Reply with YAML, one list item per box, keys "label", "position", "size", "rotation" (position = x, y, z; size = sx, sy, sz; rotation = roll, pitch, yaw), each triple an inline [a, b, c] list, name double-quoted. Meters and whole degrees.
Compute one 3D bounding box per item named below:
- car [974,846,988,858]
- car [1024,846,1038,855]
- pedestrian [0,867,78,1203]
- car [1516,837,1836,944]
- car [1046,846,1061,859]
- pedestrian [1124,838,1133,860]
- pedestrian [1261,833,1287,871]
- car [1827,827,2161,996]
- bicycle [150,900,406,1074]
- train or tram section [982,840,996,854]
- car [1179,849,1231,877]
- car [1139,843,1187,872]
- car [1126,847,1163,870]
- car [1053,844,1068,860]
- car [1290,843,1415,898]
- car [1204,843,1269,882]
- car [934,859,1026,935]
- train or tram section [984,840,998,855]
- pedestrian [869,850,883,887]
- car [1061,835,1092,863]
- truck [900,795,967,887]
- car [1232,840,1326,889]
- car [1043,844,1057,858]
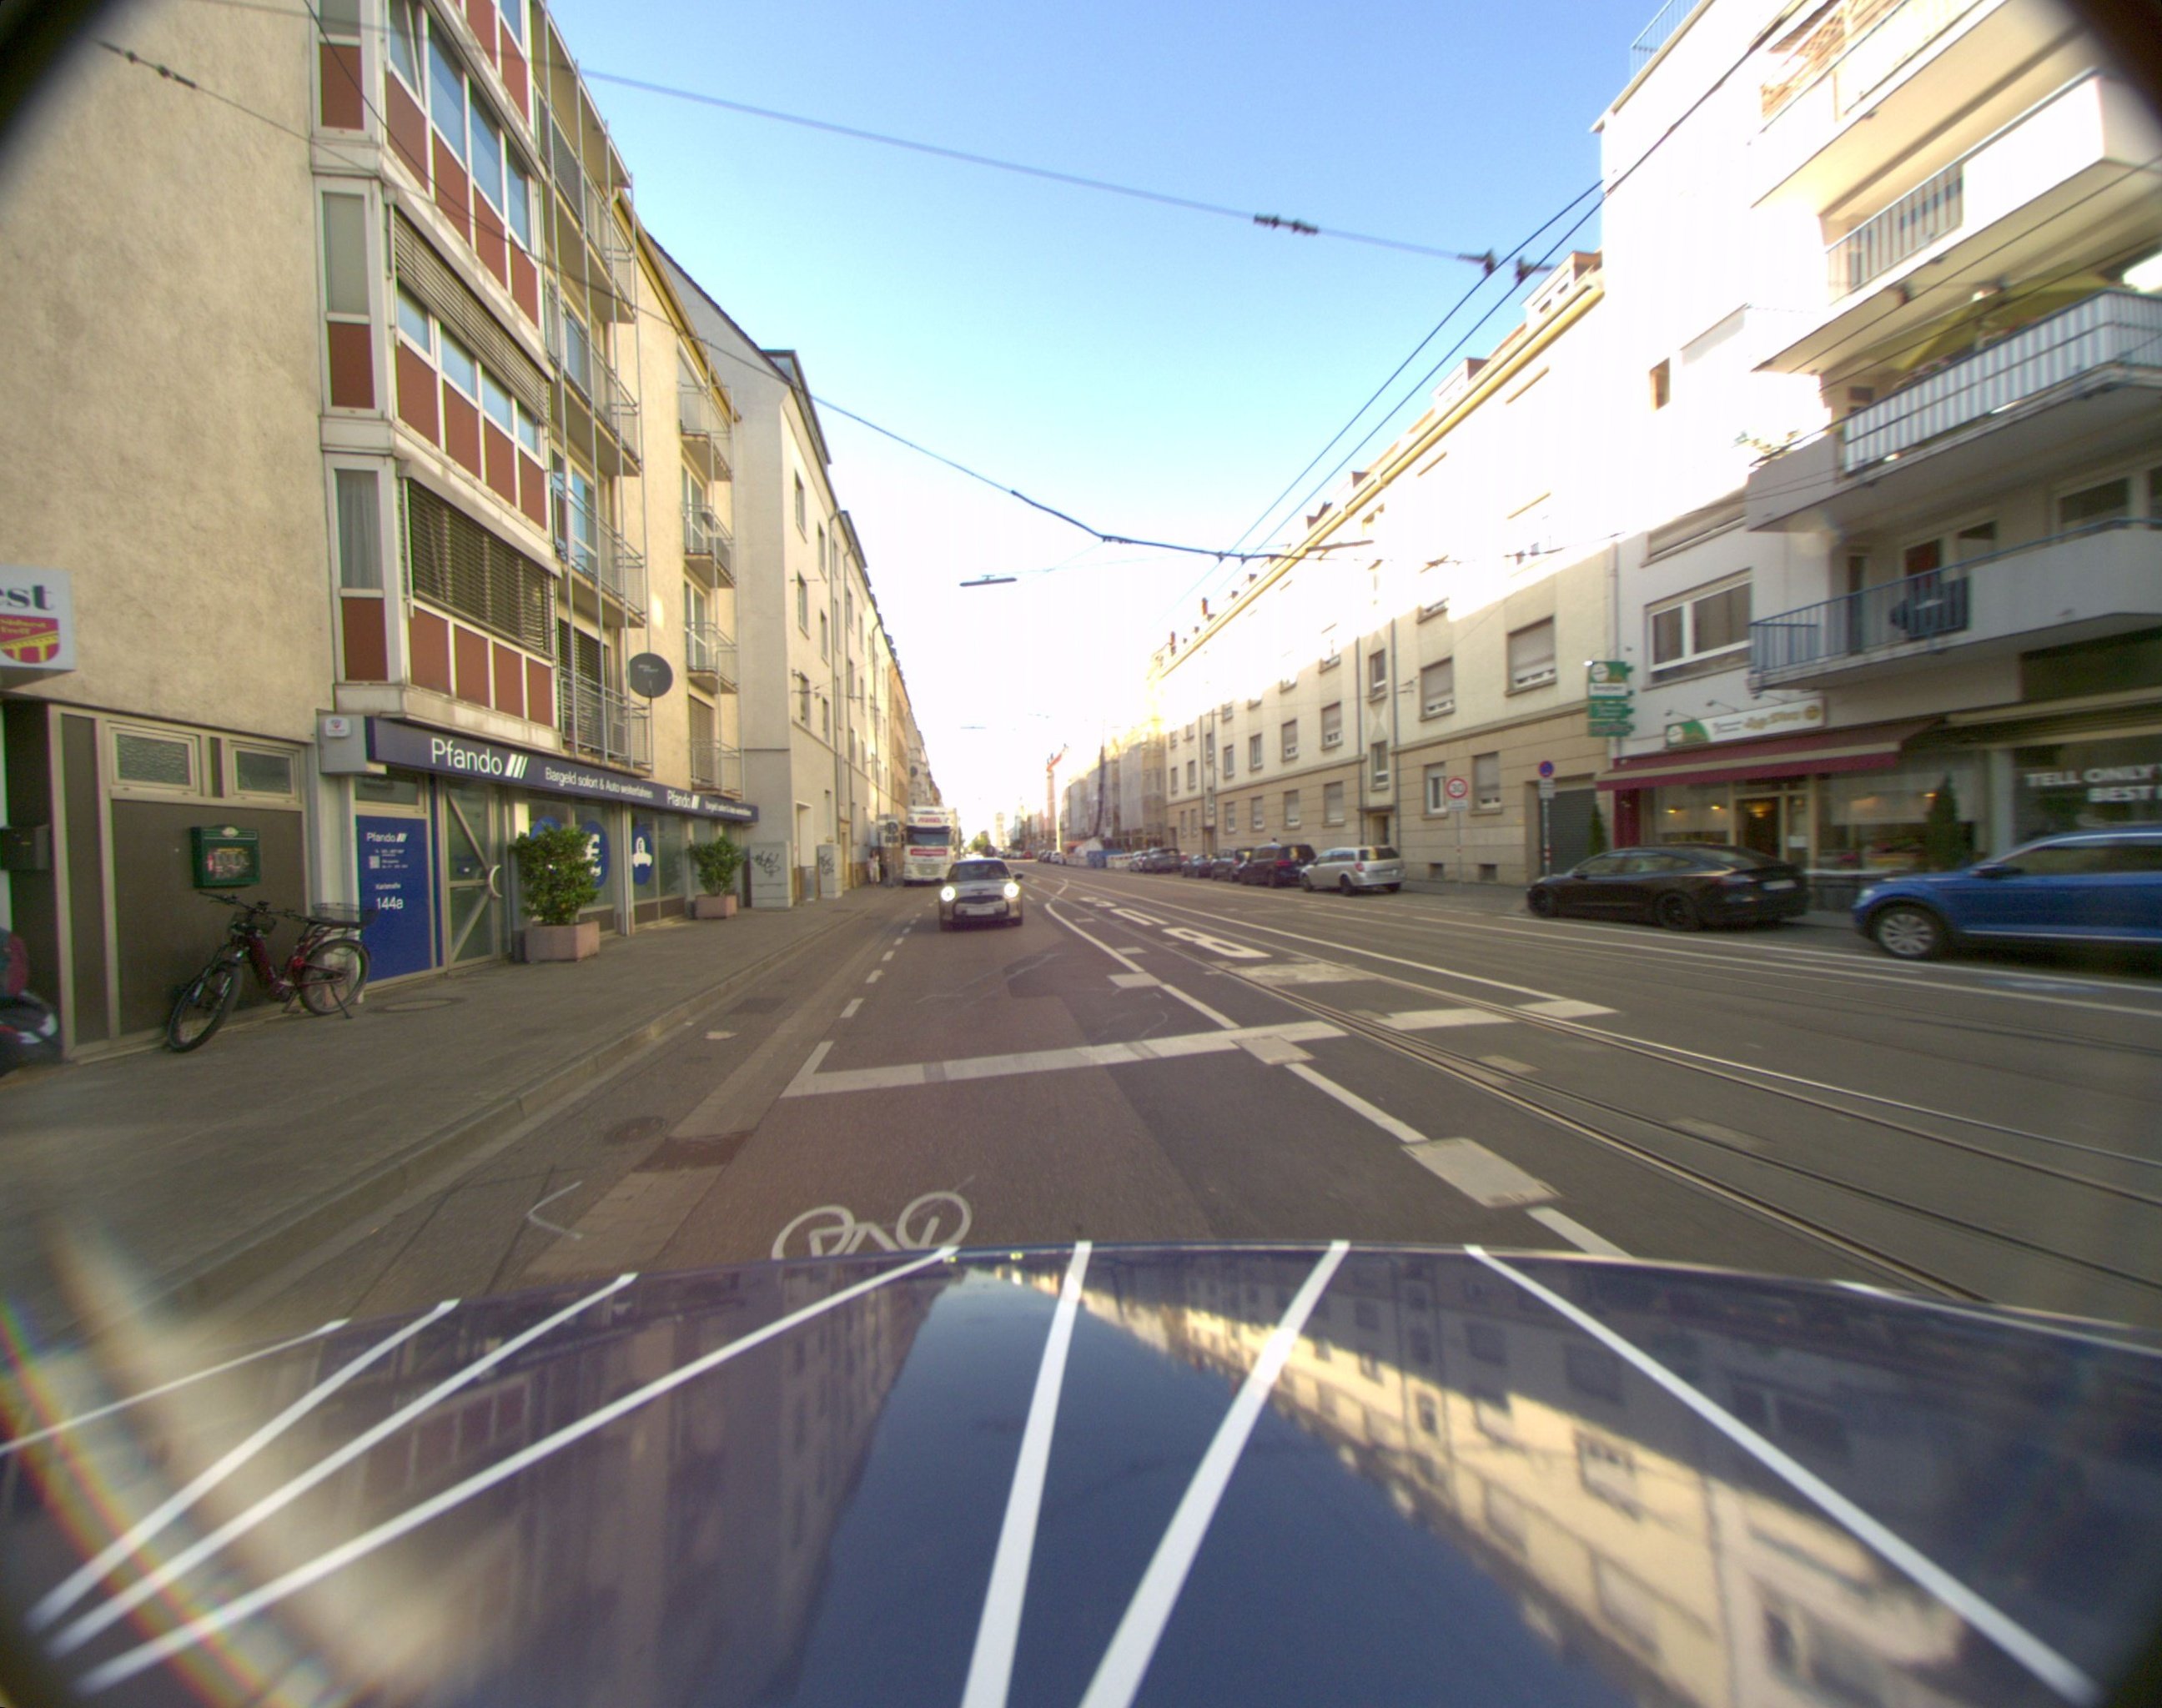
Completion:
- label: "car"
  position: [-17.378, -0.348, 131.878]
  size: [2.000, 1.871, 4.266]
  rotation: [-4, 2, -10]
- label: "car"
  position: [-9.494, -0.718, 144.157]
  size: [2.232, 1.518, 4.956]
  rotation: [-4, 2, -8]
- label: "pedestrian"
  position: [-5.516, 0.854, 3.422]
  size: [0.888, 1.583, 0.810]
  rotation: [0, 0, -14]
- label: "car"
  position: [10.149, 0.504, 13.506]
  size: [1.774, 1.466, 4.441]
  rotation: [-4, 2, -8]
- label: "car"
  position: [-3.690, -0.204, 102.154]
  size: [1.571, 1.674, 3.933]
  rotation: [-4, 2, -8]
- label: "pedestrian"
  position: [4.058, -0.395, 65.573]
  size: [0.519, 1.861, 0.762]
  rotation: [-4, 2, -9]
- label: "pedestrian"
  position: [9.140, -0.090, 35.999]
  size: [0.664, 1.757, 1.004]
  rotation: [-4, 2, -16]
- label: "car"
  position: [10.790, 0.521, 7.745]
  size: [1.775, 1.495, 4.234]
  rotation: [-4, 1, -11]
- label: "bicycle"
  position: [-6.893, 1.067, 6.673]
  size: [0.498, 1.155, 1.775]
  rotation: [-2, 2, -8]
- label: "train or tram section"
  position: [-24.288, -1.931, 200.047]
  size: [2.869, 3.542, 13.321]
  rotation: [-2, 1, -9]
- label: "car"
  position: [6.263, 0.442, 38.695]
  size: [1.477, 1.213, 3.520]
  rotation: [-5, 2, -10]
- label: "car"
  position: [4.990, 0.193, 46.958]
  size: [1.753, 1.600, 4.155]
  rotation: [-5, 2, -10]
- label: "car"
  position: [4.279, 0.303, 51.412]
  size: [1.566, 1.372, 3.504]
  rotation: [-5, 2, -10]
- label: "car"
  position: [-2.605, -0.246, 96.400]
  size: [1.658, 1.912, 3.763]
  rotation: [-4, 2, -1]
- label: "car"
  position: [8.475, 0.441, 24.176]
  size: [1.730, 1.446, 4.366]
  rotation: [-5, 2, -10]
- label: "car"
  position: [6.961, 0.320, 34.297]
  size: [1.644, 1.550, 3.592]
  rotation: [-5, 2, -9]
- label: "car"
  position: [-2.195, 0.862, 16.824]
  size: [1.728, 1.416, 3.814]
  rotation: [-2, 0, -7]
- label: "train or tram section"
  position: [-22.294, -1.729, 186.992]
  size: [2.869, 3.542, 13.030]
  rotation: [-2, 1, -9]
- label: "pedestrian"
  position: [-9.141, 0.624, 33.851]
  size: [0.475, 1.620, 0.467]
  rotation: [-1, 2, -7]
- label: "car"
  position: [-0.496, -0.559, 78.724]
  size: [2.216, 2.681, 5.868]
  rotation: [-4, 2, -8]
- label: "truck"
  position: [-7.744, -0.769, 41.339]
  size: [2.701, 4.214, 11.766]
  rotation: [-2, 2, -7]
- label: "car"
  position: [7.576, 0.337, 29.582]
  size: [1.820, 1.624, 4.320]
  rotation: [-5, 2, -10]
- label: "car"
  position: [-4.443, -0.456, 108.729]
  size: [1.571, 1.945, 4.180]
  rotation: [-4, 2, -8]
